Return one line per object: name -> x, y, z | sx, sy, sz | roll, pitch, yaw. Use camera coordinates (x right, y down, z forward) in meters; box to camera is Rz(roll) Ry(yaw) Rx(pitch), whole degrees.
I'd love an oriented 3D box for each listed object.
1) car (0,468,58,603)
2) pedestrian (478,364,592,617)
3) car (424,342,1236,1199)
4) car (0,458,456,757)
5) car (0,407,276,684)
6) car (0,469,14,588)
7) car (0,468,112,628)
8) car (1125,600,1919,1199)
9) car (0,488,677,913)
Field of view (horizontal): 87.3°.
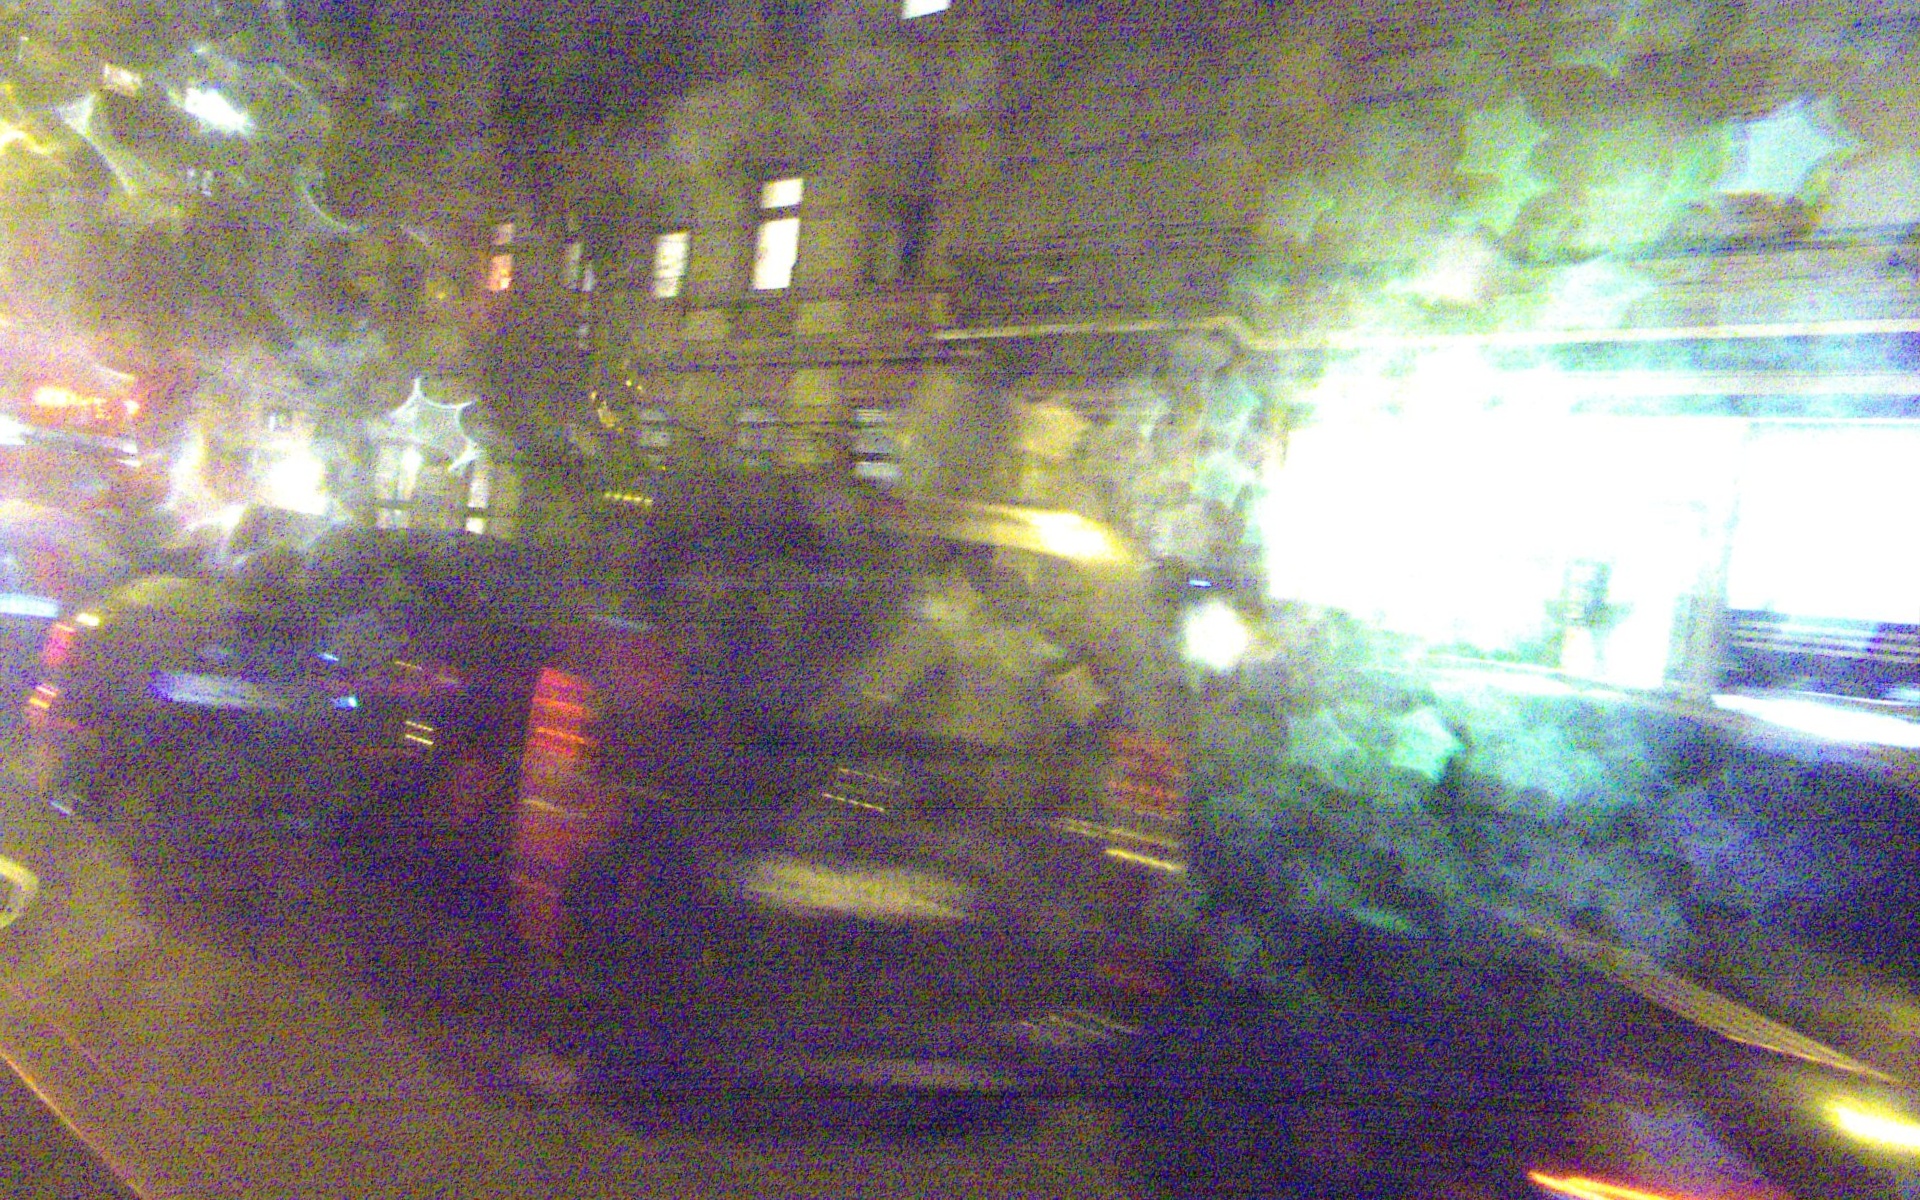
car -> -13.289, -0.961, 12.098 | 1.660, 1.754, 3.569 | 7, -1, -5
pedestrian -> -6.290, -1.587, 14.896 | 0.778, 3.570, 0.892 | 7, 0, 31
car -> -0.432, 0.397, 4.178 | 1.695, 1.864, 3.744 | 6, 1, -5
car -> -5.692, -0.080, 7.605 | 1.847, 1.609, 3.994 | 6, 2, -4
car -> -7.872, -0.499, 8.685 | 1.577, 2.017, 3.560 | 6, 1, -5
car -> -15.199, -1.218, 13.181 | 1.847, 1.782, 3.998 | 7, -1, -5
car -> -10.435, -0.590, 9.711 | 1.577, 1.611, 3.560 | 6, 1, -5
car -> 1.727, 0.880, 2.531 | 1.695, 1.504, 3.561 | 6, 1, -4
car -> -2.869, 0.354, 5.602 | 1.642, 1.472, 3.561 | 6, 1, -3
